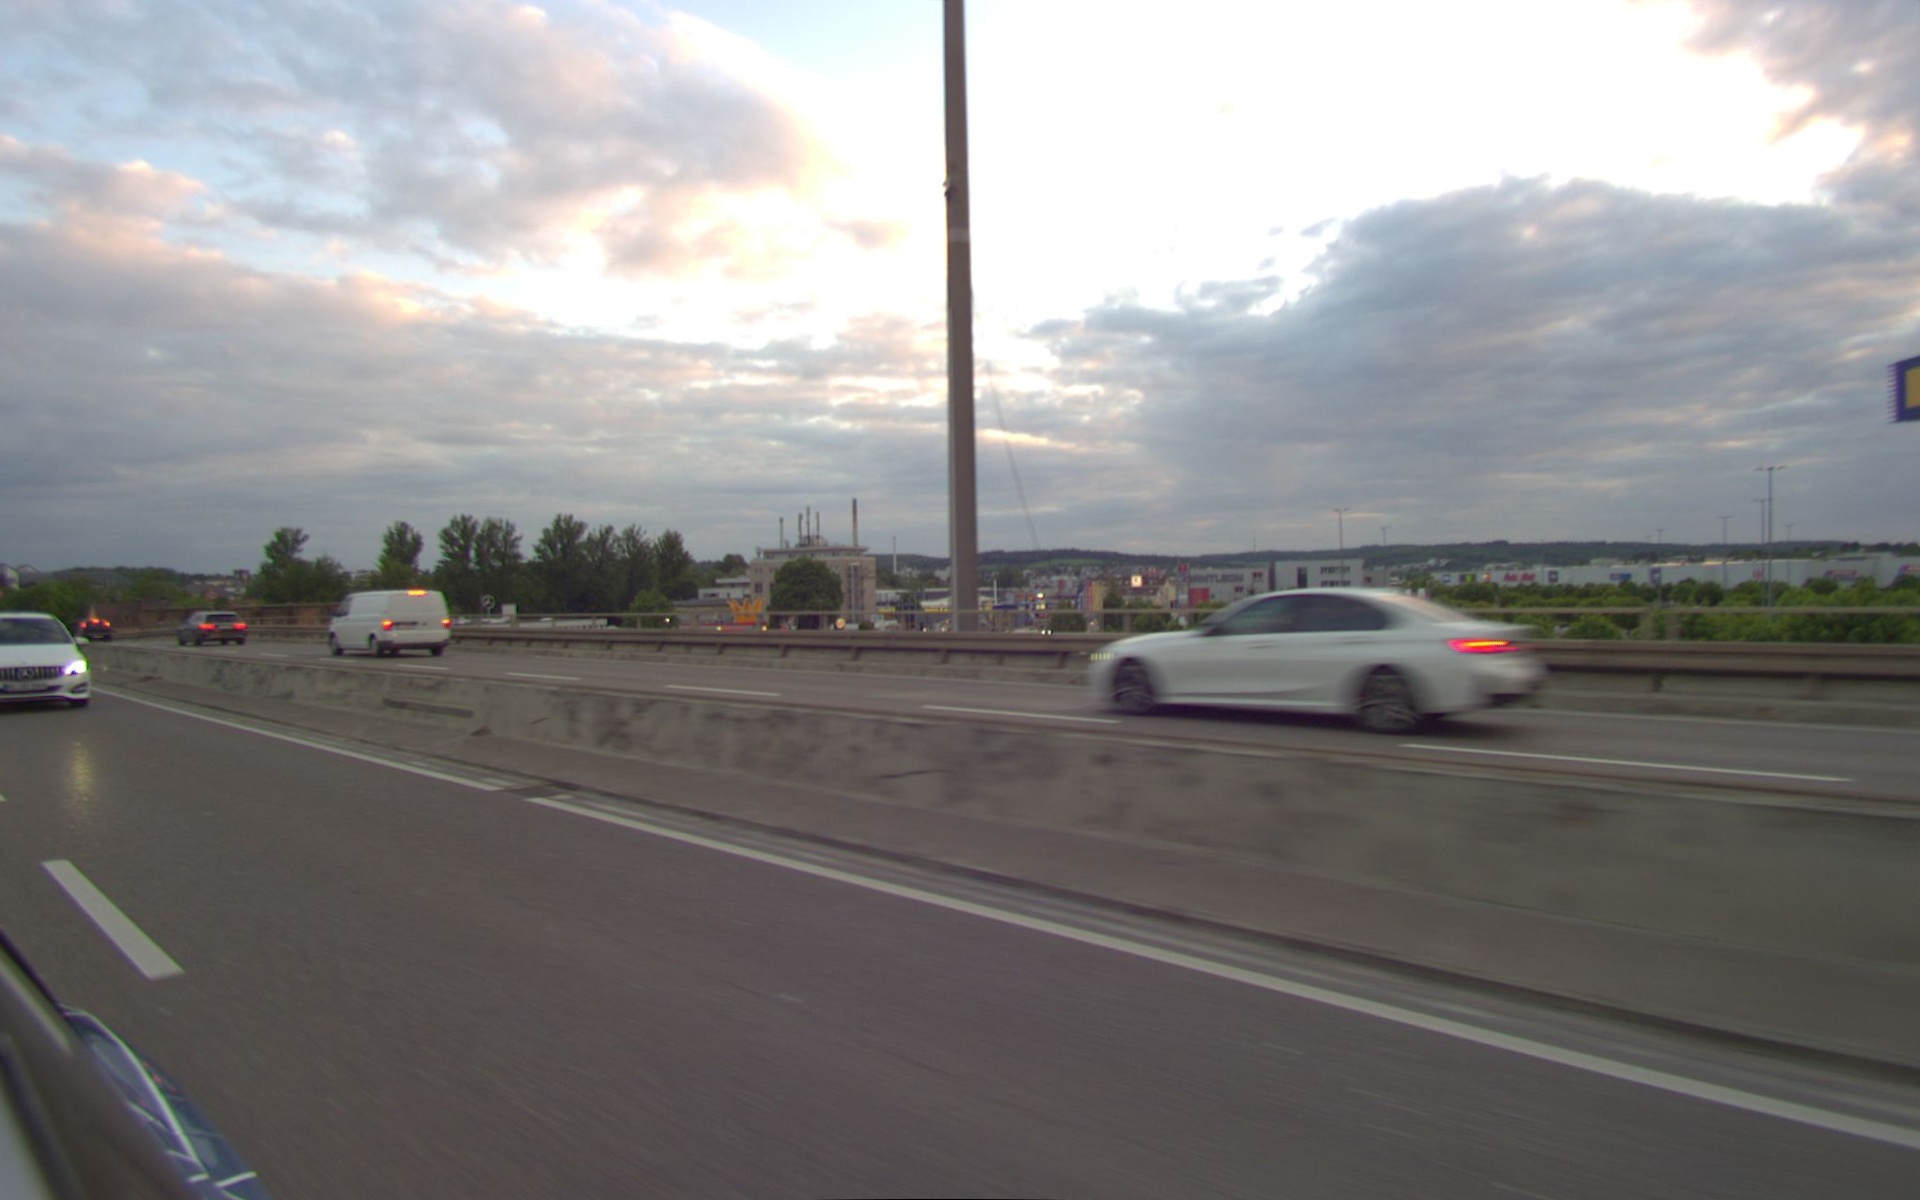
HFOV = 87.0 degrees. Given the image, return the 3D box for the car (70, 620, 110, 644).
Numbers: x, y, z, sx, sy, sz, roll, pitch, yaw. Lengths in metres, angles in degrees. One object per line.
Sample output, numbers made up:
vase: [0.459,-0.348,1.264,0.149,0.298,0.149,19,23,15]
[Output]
car: [-60.886,2.190,70.775,4.042,1.606,1.639,-1,0,42]

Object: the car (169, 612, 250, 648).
car: [-33.428,1.363,45.037,4.897,1.485,1.810,-2,-1,40]

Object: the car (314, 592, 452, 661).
car: [-17.444,0.766,30.460,5.456,1.915,1.881,-1,0,41]

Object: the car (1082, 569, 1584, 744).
car: [3.850,0.533,11.033,4.812,1.514,1.812,-1,-1,40]

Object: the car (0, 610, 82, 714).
car: [-16.230,1.020,16.980,4.781,1.549,1.673,-3,-1,42]
